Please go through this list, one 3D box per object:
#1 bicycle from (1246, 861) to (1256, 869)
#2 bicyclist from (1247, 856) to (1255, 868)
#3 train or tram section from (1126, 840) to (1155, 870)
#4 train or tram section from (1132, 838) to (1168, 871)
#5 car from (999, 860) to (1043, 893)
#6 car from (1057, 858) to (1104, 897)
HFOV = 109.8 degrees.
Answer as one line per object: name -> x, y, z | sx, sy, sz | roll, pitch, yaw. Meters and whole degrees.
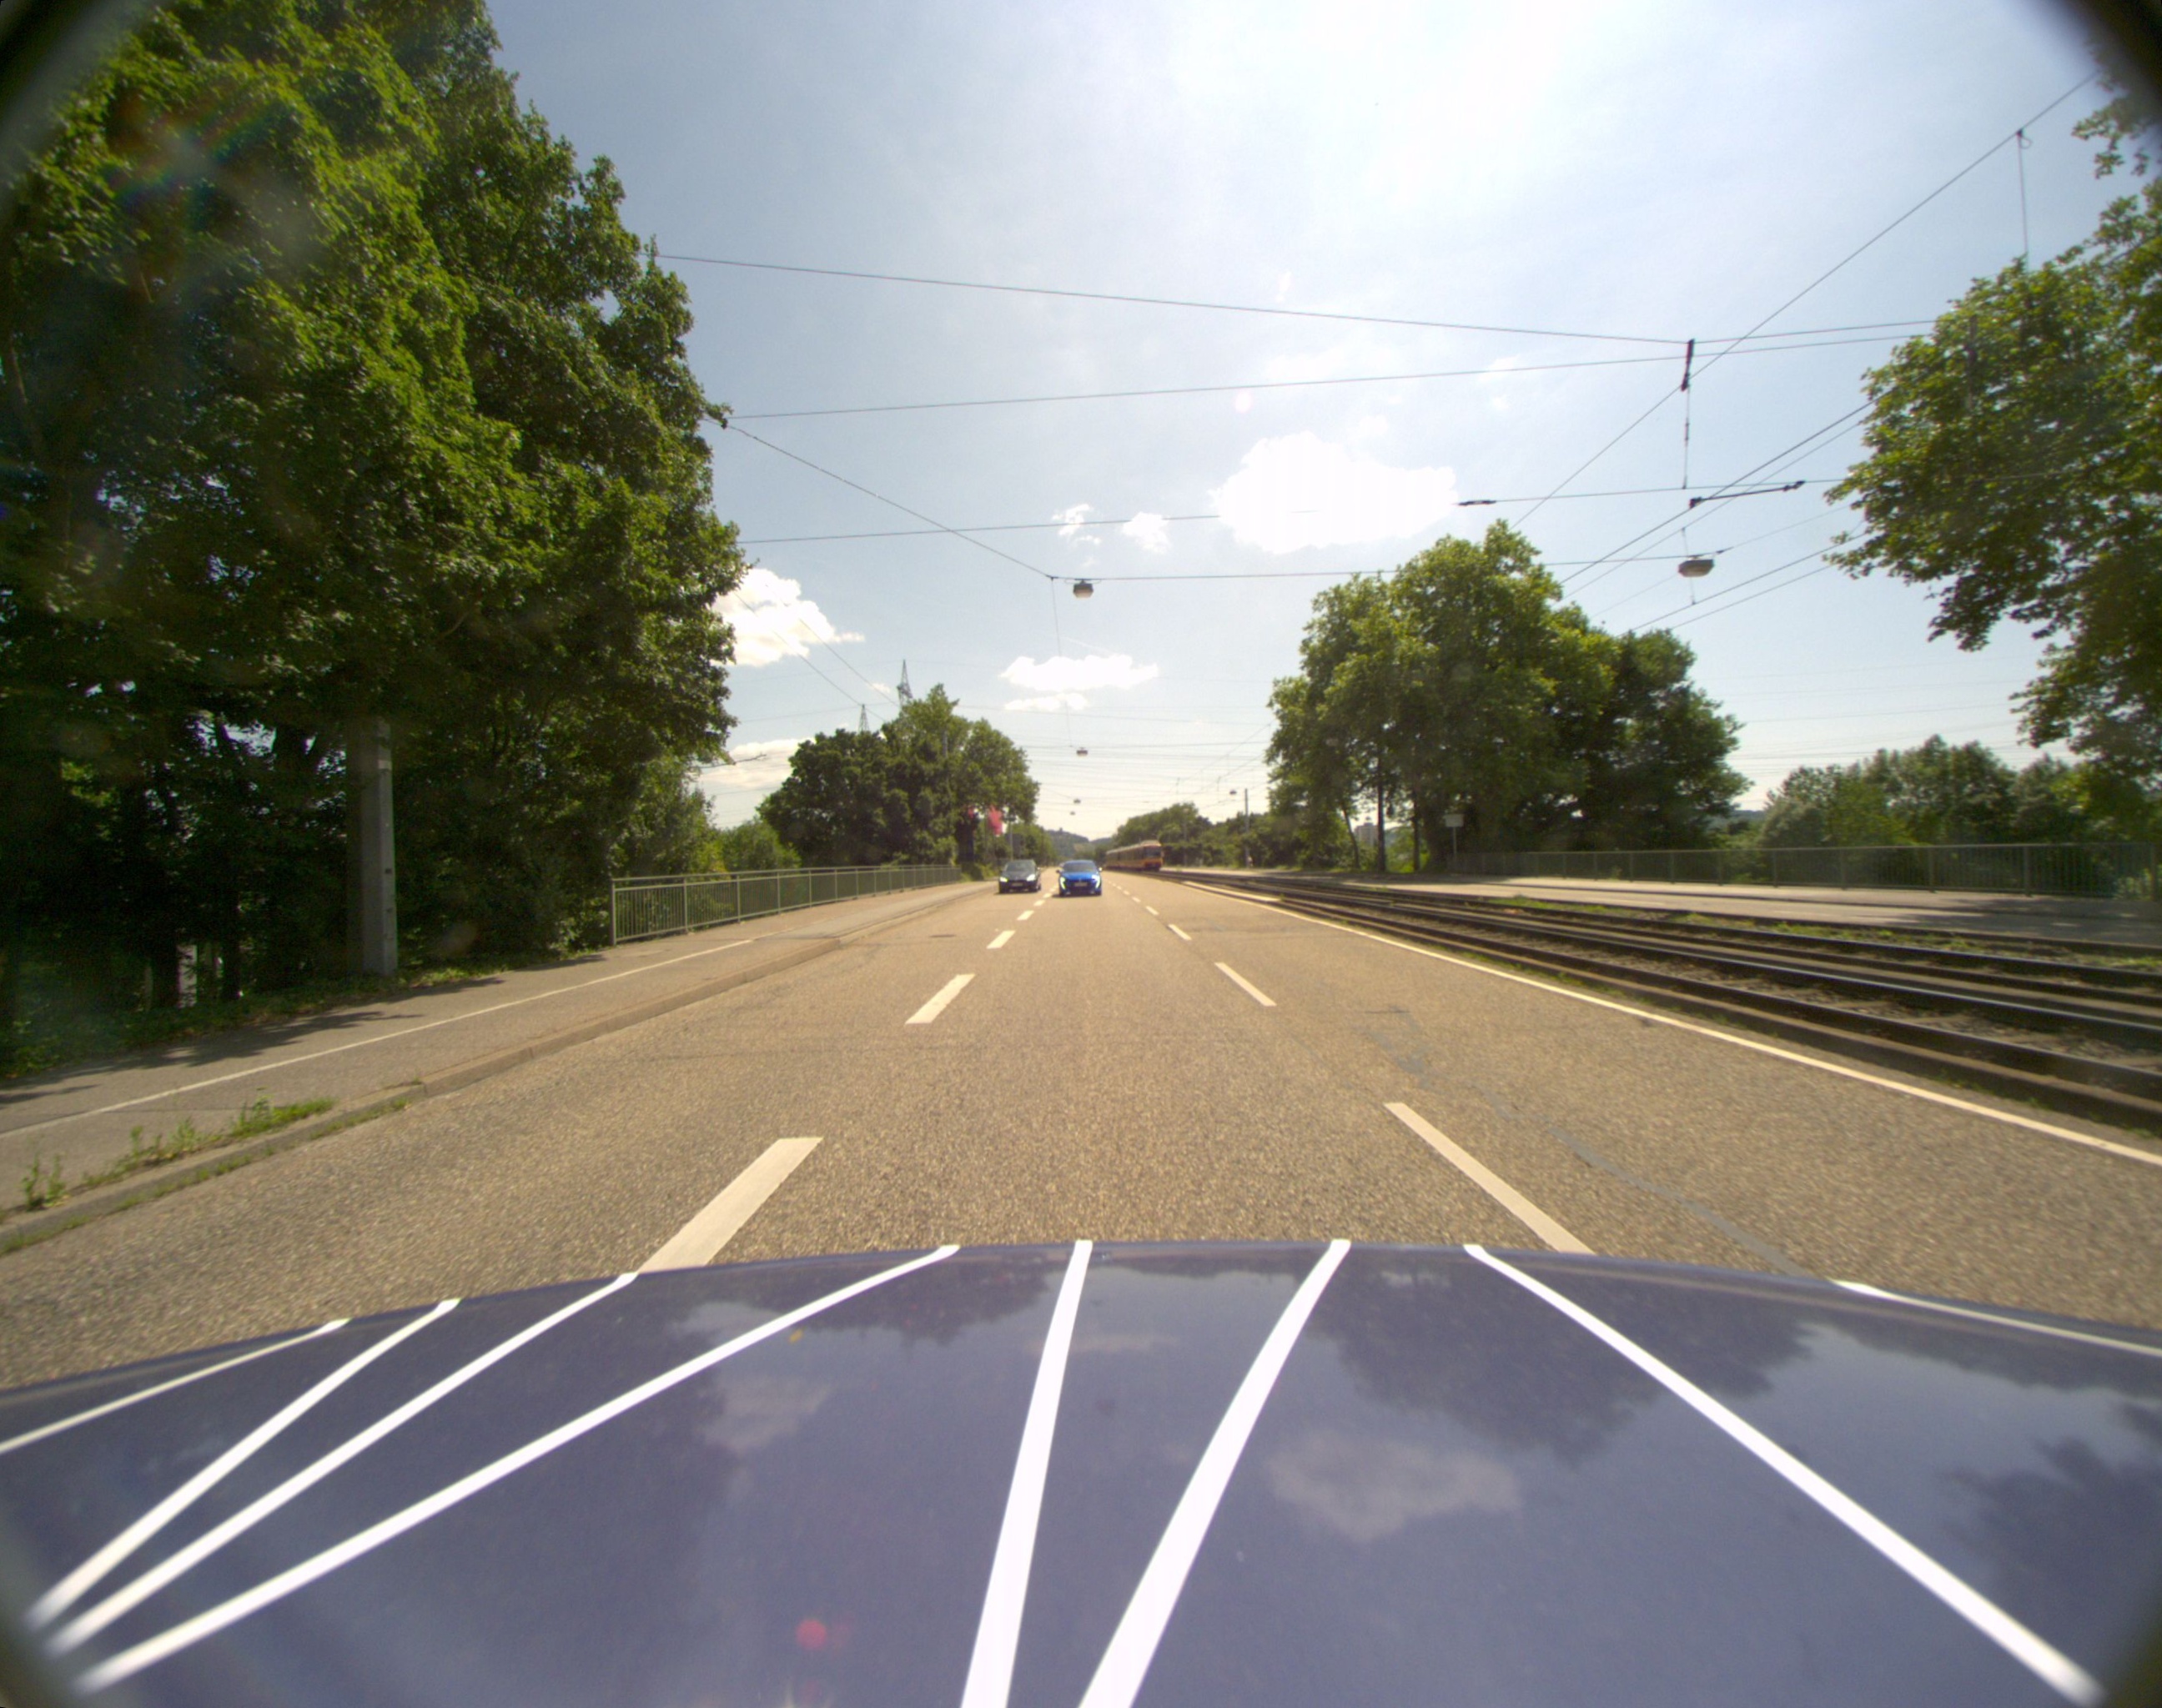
bicycle -> 21.596, 1.378, 96.592 | 0.712, 0.912, 2.183 | -2, 0, -1
bicyclist -> 21.560, 1.038, 96.403 | 0.712, 1.475, 0.918 | -2, 0, -1
train or tram section -> 8.688, 0.211, 111.941 | 3.046, 4.124, 10.232 | -1, 0, -2
train or tram section -> 9.010, 0.112, 100.726 | 3.046, 4.116, 13.980 | -1, 0, -2
car -> -2.821, 1.058, 36.400 | 1.771, 1.422, 4.000 | -2, -1, -1
car -> -0.021, 0.955, 31.721 | 1.771, 1.463, 4.467 | -2, -1, -1
